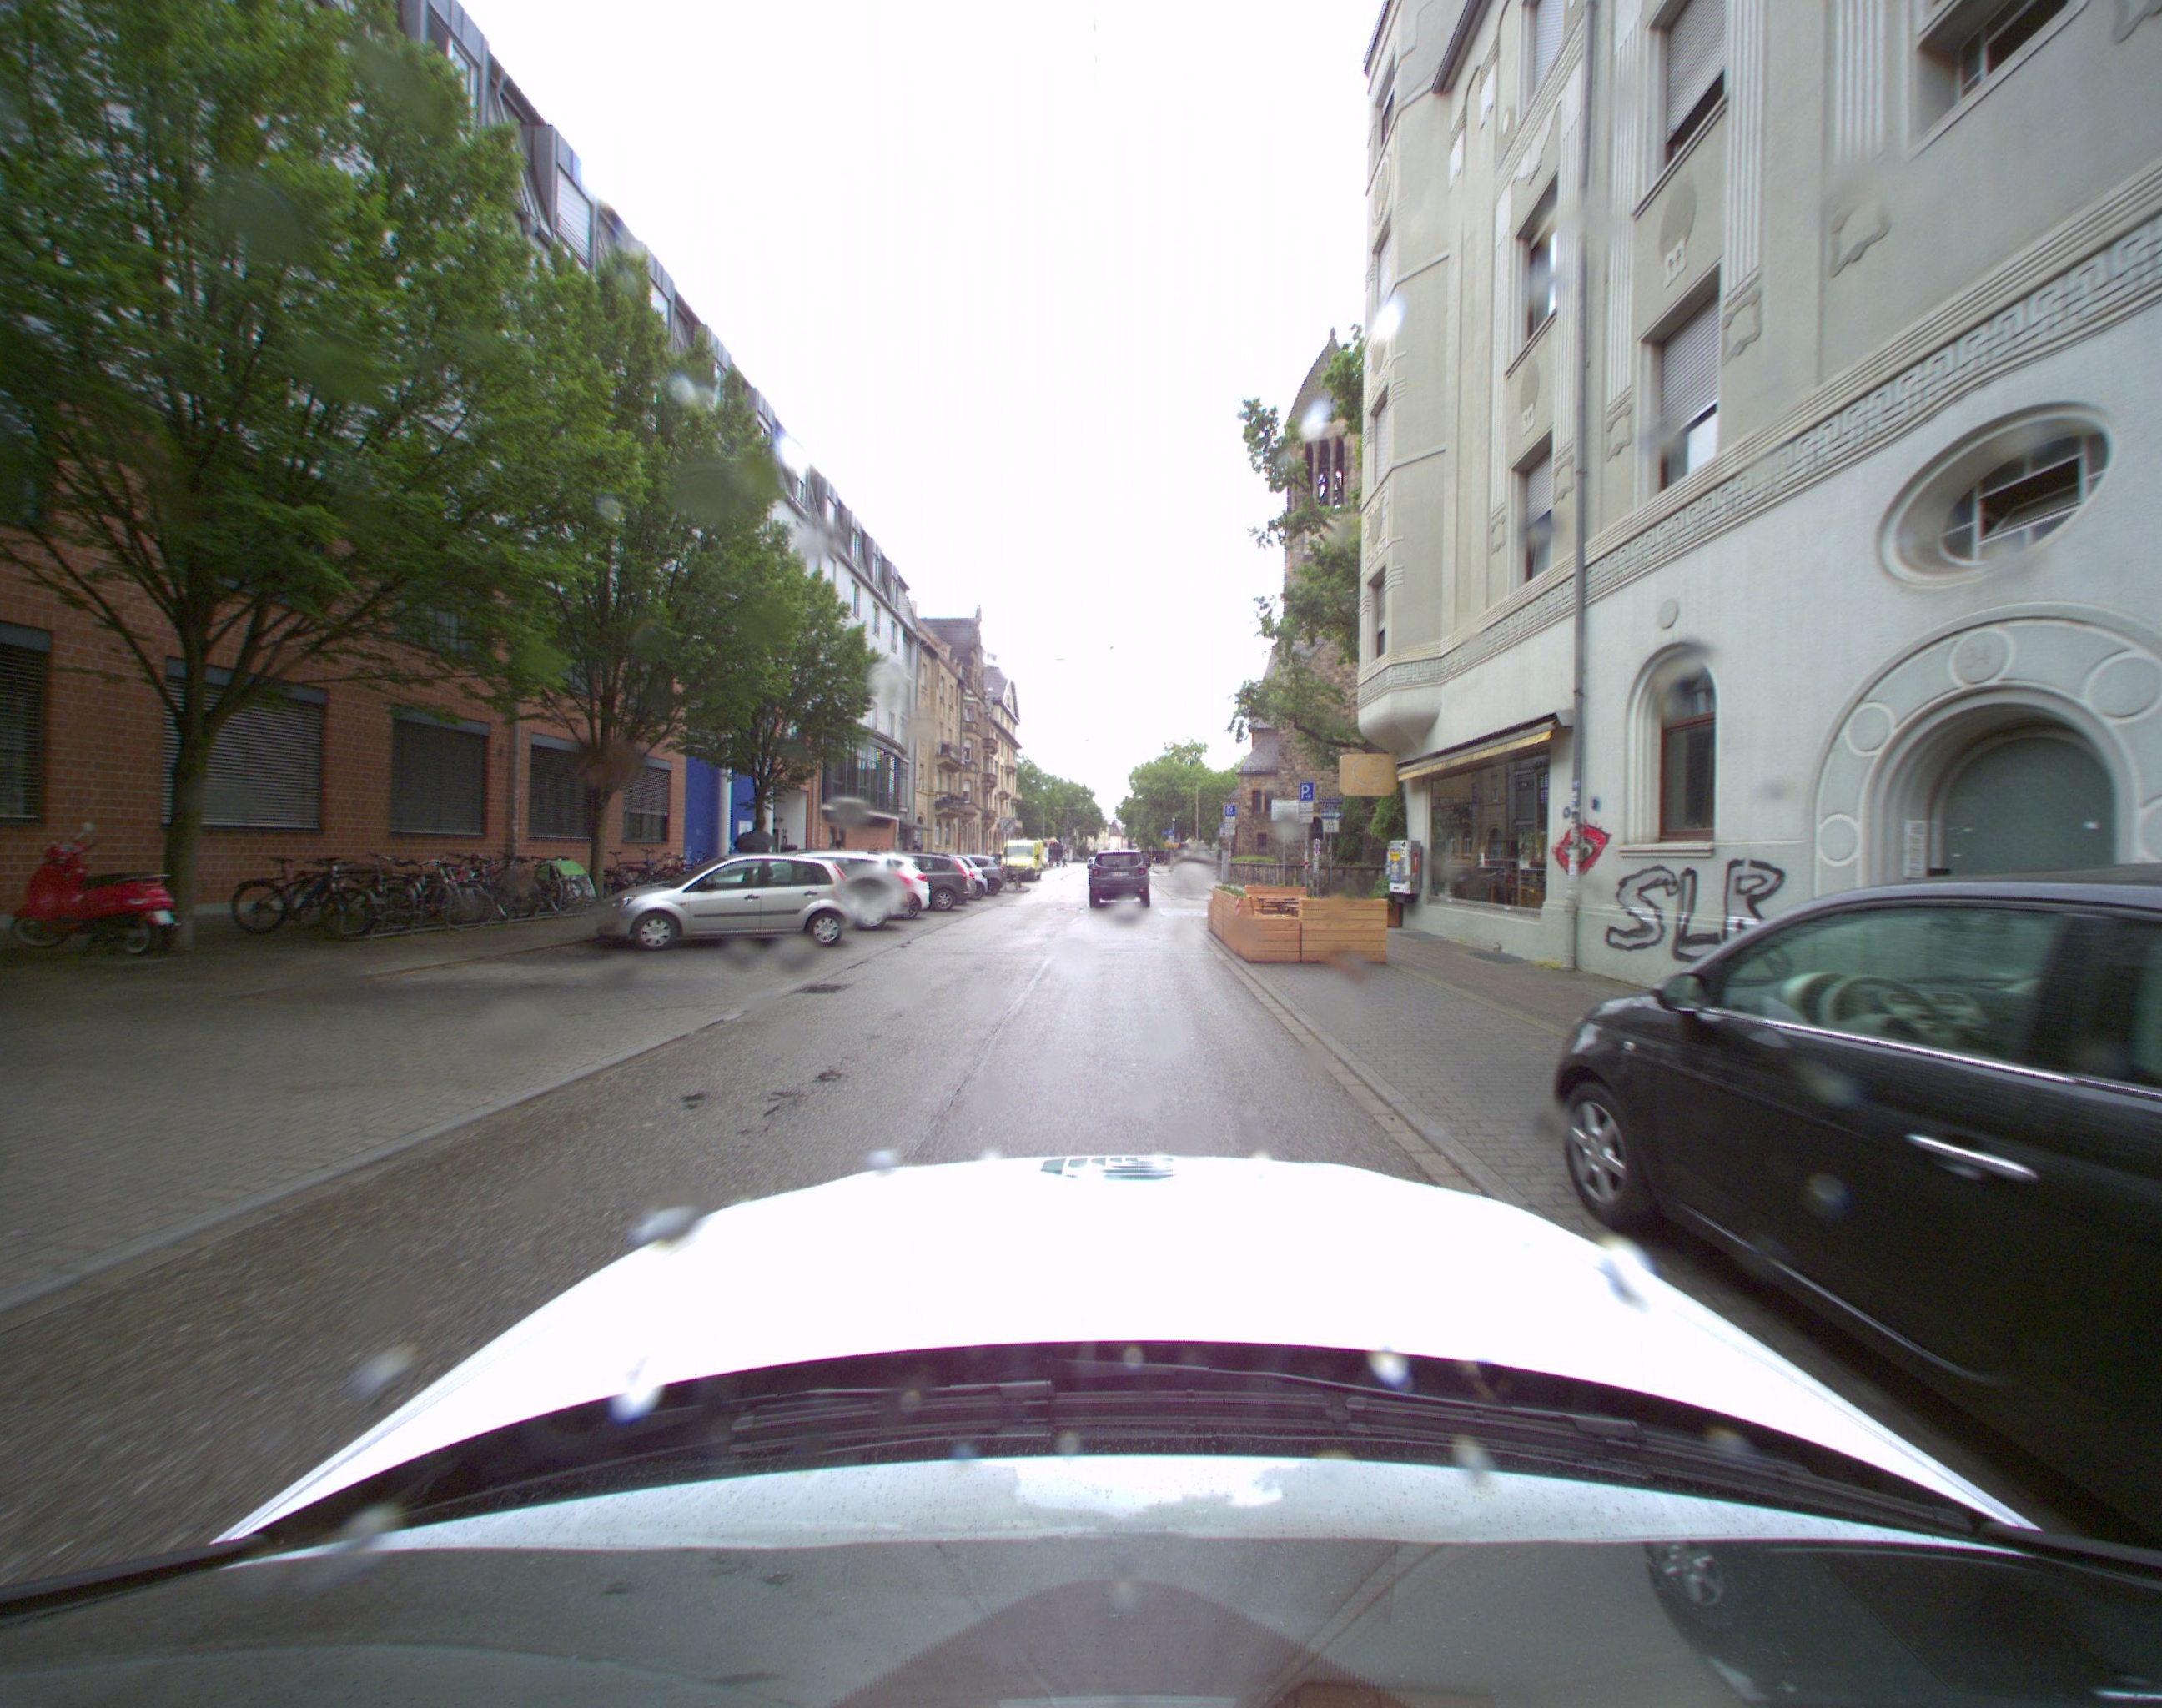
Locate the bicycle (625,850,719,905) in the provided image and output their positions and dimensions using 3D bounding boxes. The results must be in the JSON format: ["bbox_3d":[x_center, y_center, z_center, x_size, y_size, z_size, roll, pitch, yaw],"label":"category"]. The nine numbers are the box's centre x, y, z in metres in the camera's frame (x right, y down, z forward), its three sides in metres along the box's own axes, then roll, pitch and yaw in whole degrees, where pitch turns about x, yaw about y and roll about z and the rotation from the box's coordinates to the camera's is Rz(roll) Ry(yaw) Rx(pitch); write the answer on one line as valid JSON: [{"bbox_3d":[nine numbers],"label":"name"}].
[{"bbox_3d":[-9.886,0.558,19.707,1.890,1.152,0.554,5,0,0],"label":"bicycle"}]

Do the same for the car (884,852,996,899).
[{"bbox_3d":[-4.785,0.721,27.691,3.394,1.507,1.666,1,-1,-28],"label":"car"}]

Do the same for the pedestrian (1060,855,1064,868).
[{"bbox_3d":[-2.286,0.892,100.012,0.466,1.585,0.752,0,0,2],"label":"pedestrian"}]

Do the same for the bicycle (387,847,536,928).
[{"bbox_3d":[-10.081,0.536,13.292,1.890,1.152,0.554,5,0,0],"label":"bicycle"}]

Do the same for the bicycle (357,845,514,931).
[{"bbox_3d":[-10.066,0.517,12.733,1.890,1.152,0.554,5,0,0],"label":"bicycle"}]

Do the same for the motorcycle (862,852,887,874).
[{"bbox_3d":[-11.186,0.477,44.189,0.751,1.174,2.115,3,0,-1],"label":"motorcycle"}]

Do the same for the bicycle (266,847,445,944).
[{"bbox_3d":[-10.099,0.566,11.373,1.890,1.152,0.554,5,0,0],"label":"bicycle"}]

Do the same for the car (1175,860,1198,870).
[{"bbox_3d":[15.945,1.606,123.155,3.161,1.501,1.549,0,0,19],"label":"car"}]

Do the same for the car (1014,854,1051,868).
[{"bbox_3d":[-5.009,0.762,84.432,3.435,1.316,1.762,2,-1,-31],"label":"car"}]

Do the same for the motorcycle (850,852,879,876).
[{"bbox_3d":[-11.172,0.499,42.034,0.750,1.174,2.117,3,0,3],"label":"motorcycle"}]

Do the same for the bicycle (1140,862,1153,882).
[{"bbox_3d":[3.730,1.014,46.299,0.702,1.054,1.814,0,0,3],"label":"bicycle"}]

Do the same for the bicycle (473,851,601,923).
[{"bbox_3d":[-10.083,0.599,15.131,1.890,1.152,0.554,5,0,0],"label":"bicycle"}]

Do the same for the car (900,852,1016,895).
[{"bbox_3d":[-4.623,0.724,30.616,3.840,1.507,1.971,1,-1,-28],"label":"car"}]

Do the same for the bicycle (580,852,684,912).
[{"bbox_3d":[-9.901,0.605,18.002,1.890,1.152,0.554,5,0,0],"label":"bicycle"}]

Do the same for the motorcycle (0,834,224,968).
[{"bbox_3d":[-10.438,0.476,8.716,1.873,1.225,0.657,5,0,5],"label":"motorcycle"}]

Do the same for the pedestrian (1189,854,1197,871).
[{"bbox_3d":[11.155,0.850,81.280,0.688,1.711,0.685,0,0,3],"label":"pedestrian"}]

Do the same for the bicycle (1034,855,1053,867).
[{"bbox_3d":[-4.350,0.794,93.840,2.115,1.444,0.536,0,0,-18],"label":"bicycle"}]

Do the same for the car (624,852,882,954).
[{"bbox_3d":[-5.375,0.710,13.474,3.728,1.452,1.668,0,0,-33],"label":"car"}]

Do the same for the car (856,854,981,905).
[{"bbox_3d":[-4.977,0.770,25.006,3.397,1.458,1.664,1,-1,-31],"label":"car"}]

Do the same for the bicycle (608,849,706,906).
[{"bbox_3d":[-9.871,0.533,18.994,1.890,1.152,0.554,5,0,0],"label":"bicycle"}]

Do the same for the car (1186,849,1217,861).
[{"bbox_3d":[22.970,0.181,155.139,5.874,2.334,2.063,0,0,6],"label":"car"}]

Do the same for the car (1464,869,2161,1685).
[{"bbox_3d":[2.828,0.786,2.464,1.703,1.400,3.707,-1,0,2],"label":"car"}]

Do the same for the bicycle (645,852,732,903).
[{"bbox_3d":[-10.258,0.609,21.322,1.890,1.152,0.554,5,0,0],"label":"bicycle"}]

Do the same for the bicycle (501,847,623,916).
[{"bbox_3d":[-10.024,0.527,15.755,1.890,1.152,0.554,5,0,0],"label":"bicycle"}]

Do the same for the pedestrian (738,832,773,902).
[{"bbox_3d":[-7.997,0.316,20.031,0.609,1.707,0.433,1,-2,3],"label":"pedestrian"}]

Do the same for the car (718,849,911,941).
[{"bbox_3d":[-5.289,0.742,16.233,3.397,1.654,1.618,0,0,-31],"label":"car"}]

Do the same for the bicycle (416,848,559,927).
[{"bbox_3d":[-10.004,0.553,13.762,1.890,1.152,0.554,5,0,0],"label":"bicycle"}]

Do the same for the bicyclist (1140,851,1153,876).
[{"bbox_3d":[3.732,0.560,46.302,0.702,1.403,1.172,0,0,3],"label":"bicyclist"}]

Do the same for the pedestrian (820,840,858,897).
[{"bbox_3d":[-7.667,0.450,25.799,0.820,1.752,0.759,3,0,9],"label":"pedestrian"}]

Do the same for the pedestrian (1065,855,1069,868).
[{"bbox_3d":[-1.733,0.917,100.819,0.466,1.585,0.752,0,0,2],"label":"pedestrian"}]

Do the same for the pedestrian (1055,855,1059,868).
[{"bbox_3d":[-2.910,0.875,99.966,0.466,1.585,0.660,0,0,1],"label":"pedestrian"}]

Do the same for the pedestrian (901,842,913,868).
[{"bbox_3d":[-11.305,0.040,53.009,0.663,1.675,0.791,0,0,-21],"label":"pedestrian"}]

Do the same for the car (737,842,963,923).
[{"bbox_3d":[-5.326,0.685,18.863,4.538,1.539,2.315,5,-3,-30],"label":"car"}]

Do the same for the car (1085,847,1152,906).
[{"bbox_3d":[1.116,0.657,25.308,1.892,1.671,4.507,0,0,2],"label":"car"}]

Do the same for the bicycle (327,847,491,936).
[{"bbox_3d":[-10.036,0.546,12.196,1.890,1.152,0.554,5,0,0],"label":"bicycle"}]

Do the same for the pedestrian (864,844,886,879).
[{"bbox_3d":[-9.457,0.357,37.386,0.704,1.551,0.609,3,0,9],"label":"pedestrian"}]

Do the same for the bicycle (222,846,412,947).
[{"bbox_3d":[-10.139,0.548,10.843,1.890,1.152,0.554,5,0,0],"label":"bicycle"}]

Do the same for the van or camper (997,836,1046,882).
[{"bbox_3d":[-3.561,0.406,50.124,2.113,2.531,6.877,-3,-2,2],"label":"van or camper"}]

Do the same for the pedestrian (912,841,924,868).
[{"bbox_3d":[-10.655,0.060,53.268,0.663,1.757,0.791,0,0,-21],"label":"pedestrian"}]

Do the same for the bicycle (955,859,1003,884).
[{"bbox_3d":[-4.833,0.817,38.515,2.124,1.097,0.594,2,0,3],"label":"bicycle"}]

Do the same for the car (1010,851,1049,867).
[{"bbox_3d":[-5.518,0.548,87.077,3.753,1.558,1.655,2,-1,-31],"label":"car"}]

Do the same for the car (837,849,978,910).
[{"bbox_3d":[-4.711,0.681,22.133,3.395,1.542,1.665,1,-1,-29],"label":"car"}]
